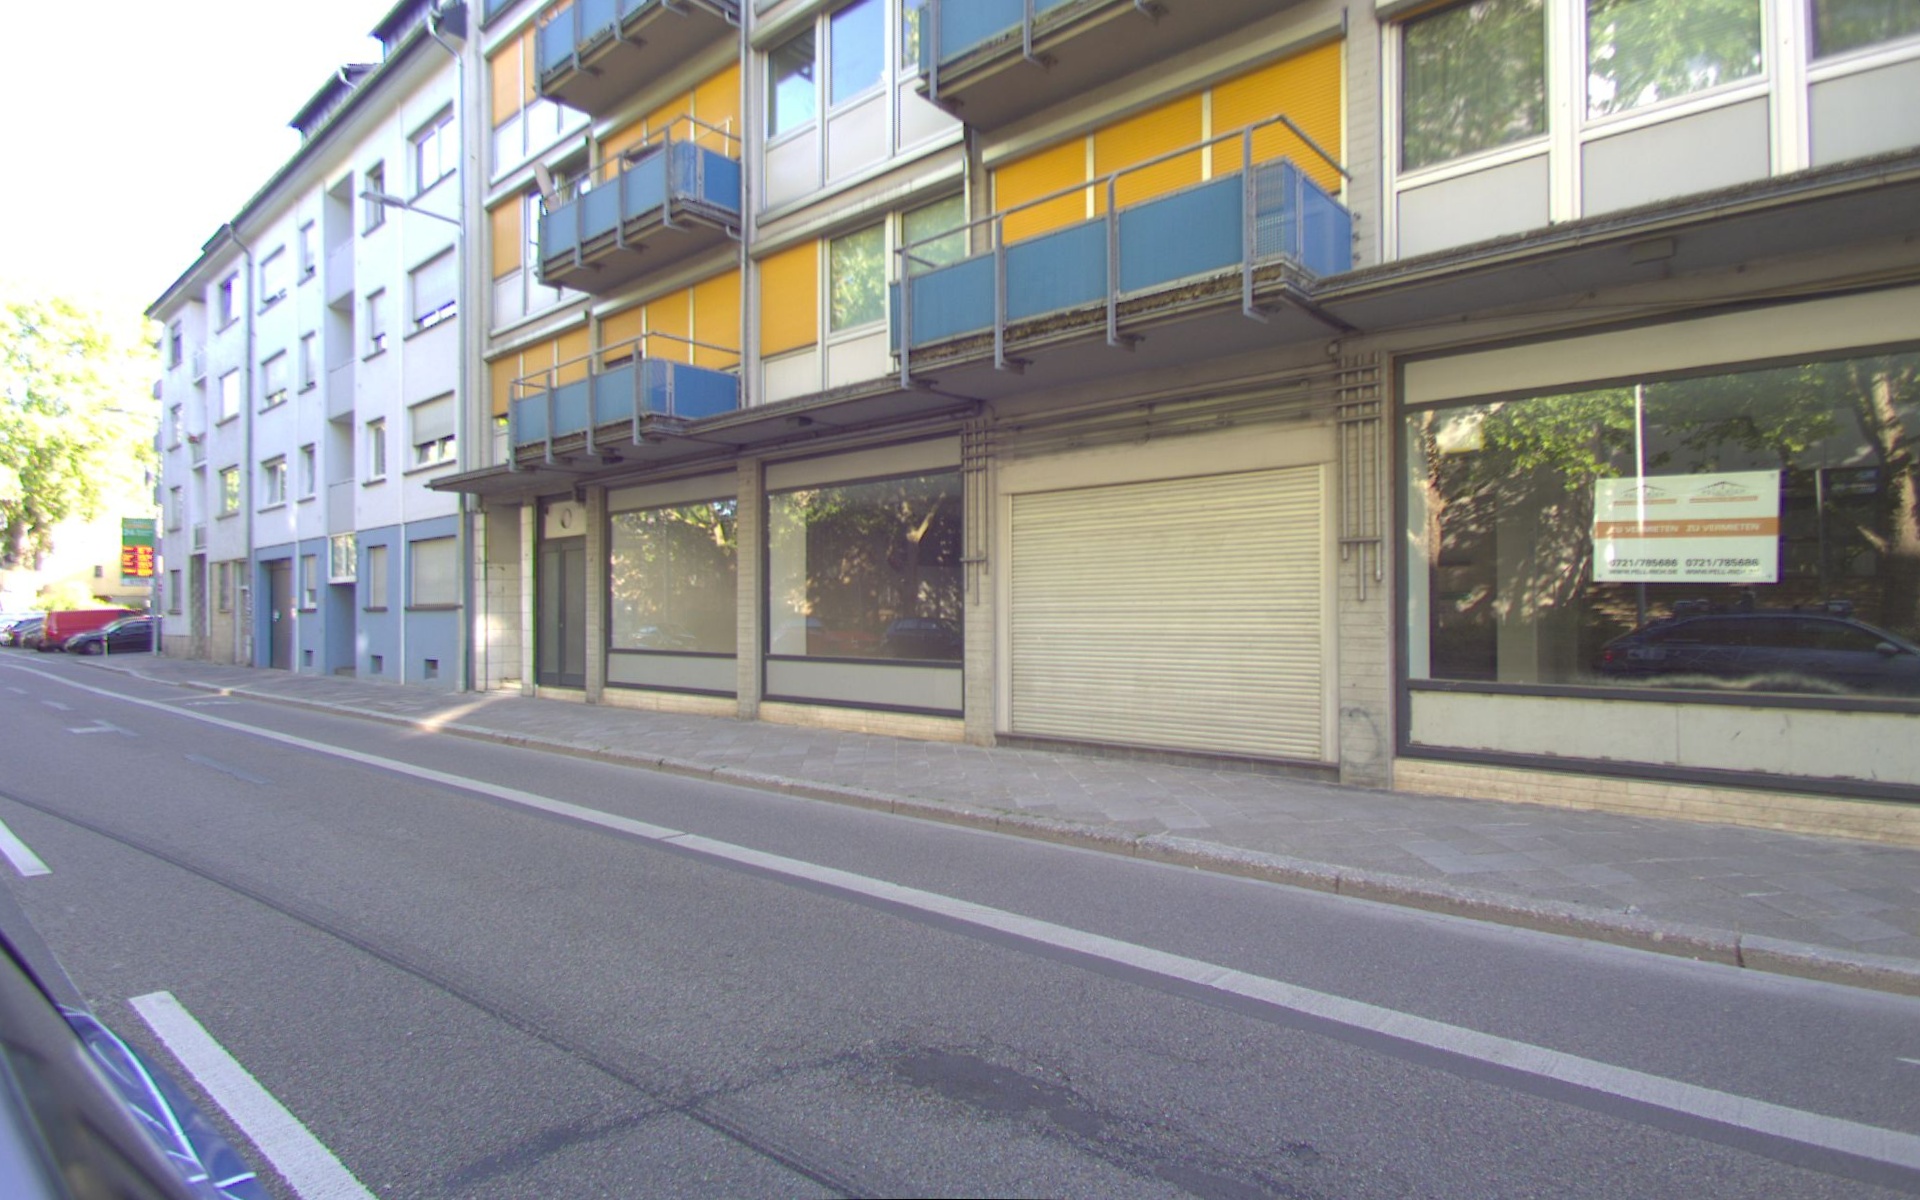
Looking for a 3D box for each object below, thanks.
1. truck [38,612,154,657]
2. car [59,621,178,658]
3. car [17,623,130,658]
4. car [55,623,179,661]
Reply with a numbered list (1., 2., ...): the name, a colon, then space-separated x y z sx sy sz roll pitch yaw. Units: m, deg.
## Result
1. truck: -40.509 1.577 47.502 1.761 1.951 3.944 -1 0 42
2. car: -38.118 1.765 45.910 1.761 1.514 3.944 -1 0 42
3. car: -42.919 1.910 49.049 1.761 1.514 3.944 -1 0 42
4. car: -36.637 1.769 44.022 1.761 1.468 3.944 -1 0 42
